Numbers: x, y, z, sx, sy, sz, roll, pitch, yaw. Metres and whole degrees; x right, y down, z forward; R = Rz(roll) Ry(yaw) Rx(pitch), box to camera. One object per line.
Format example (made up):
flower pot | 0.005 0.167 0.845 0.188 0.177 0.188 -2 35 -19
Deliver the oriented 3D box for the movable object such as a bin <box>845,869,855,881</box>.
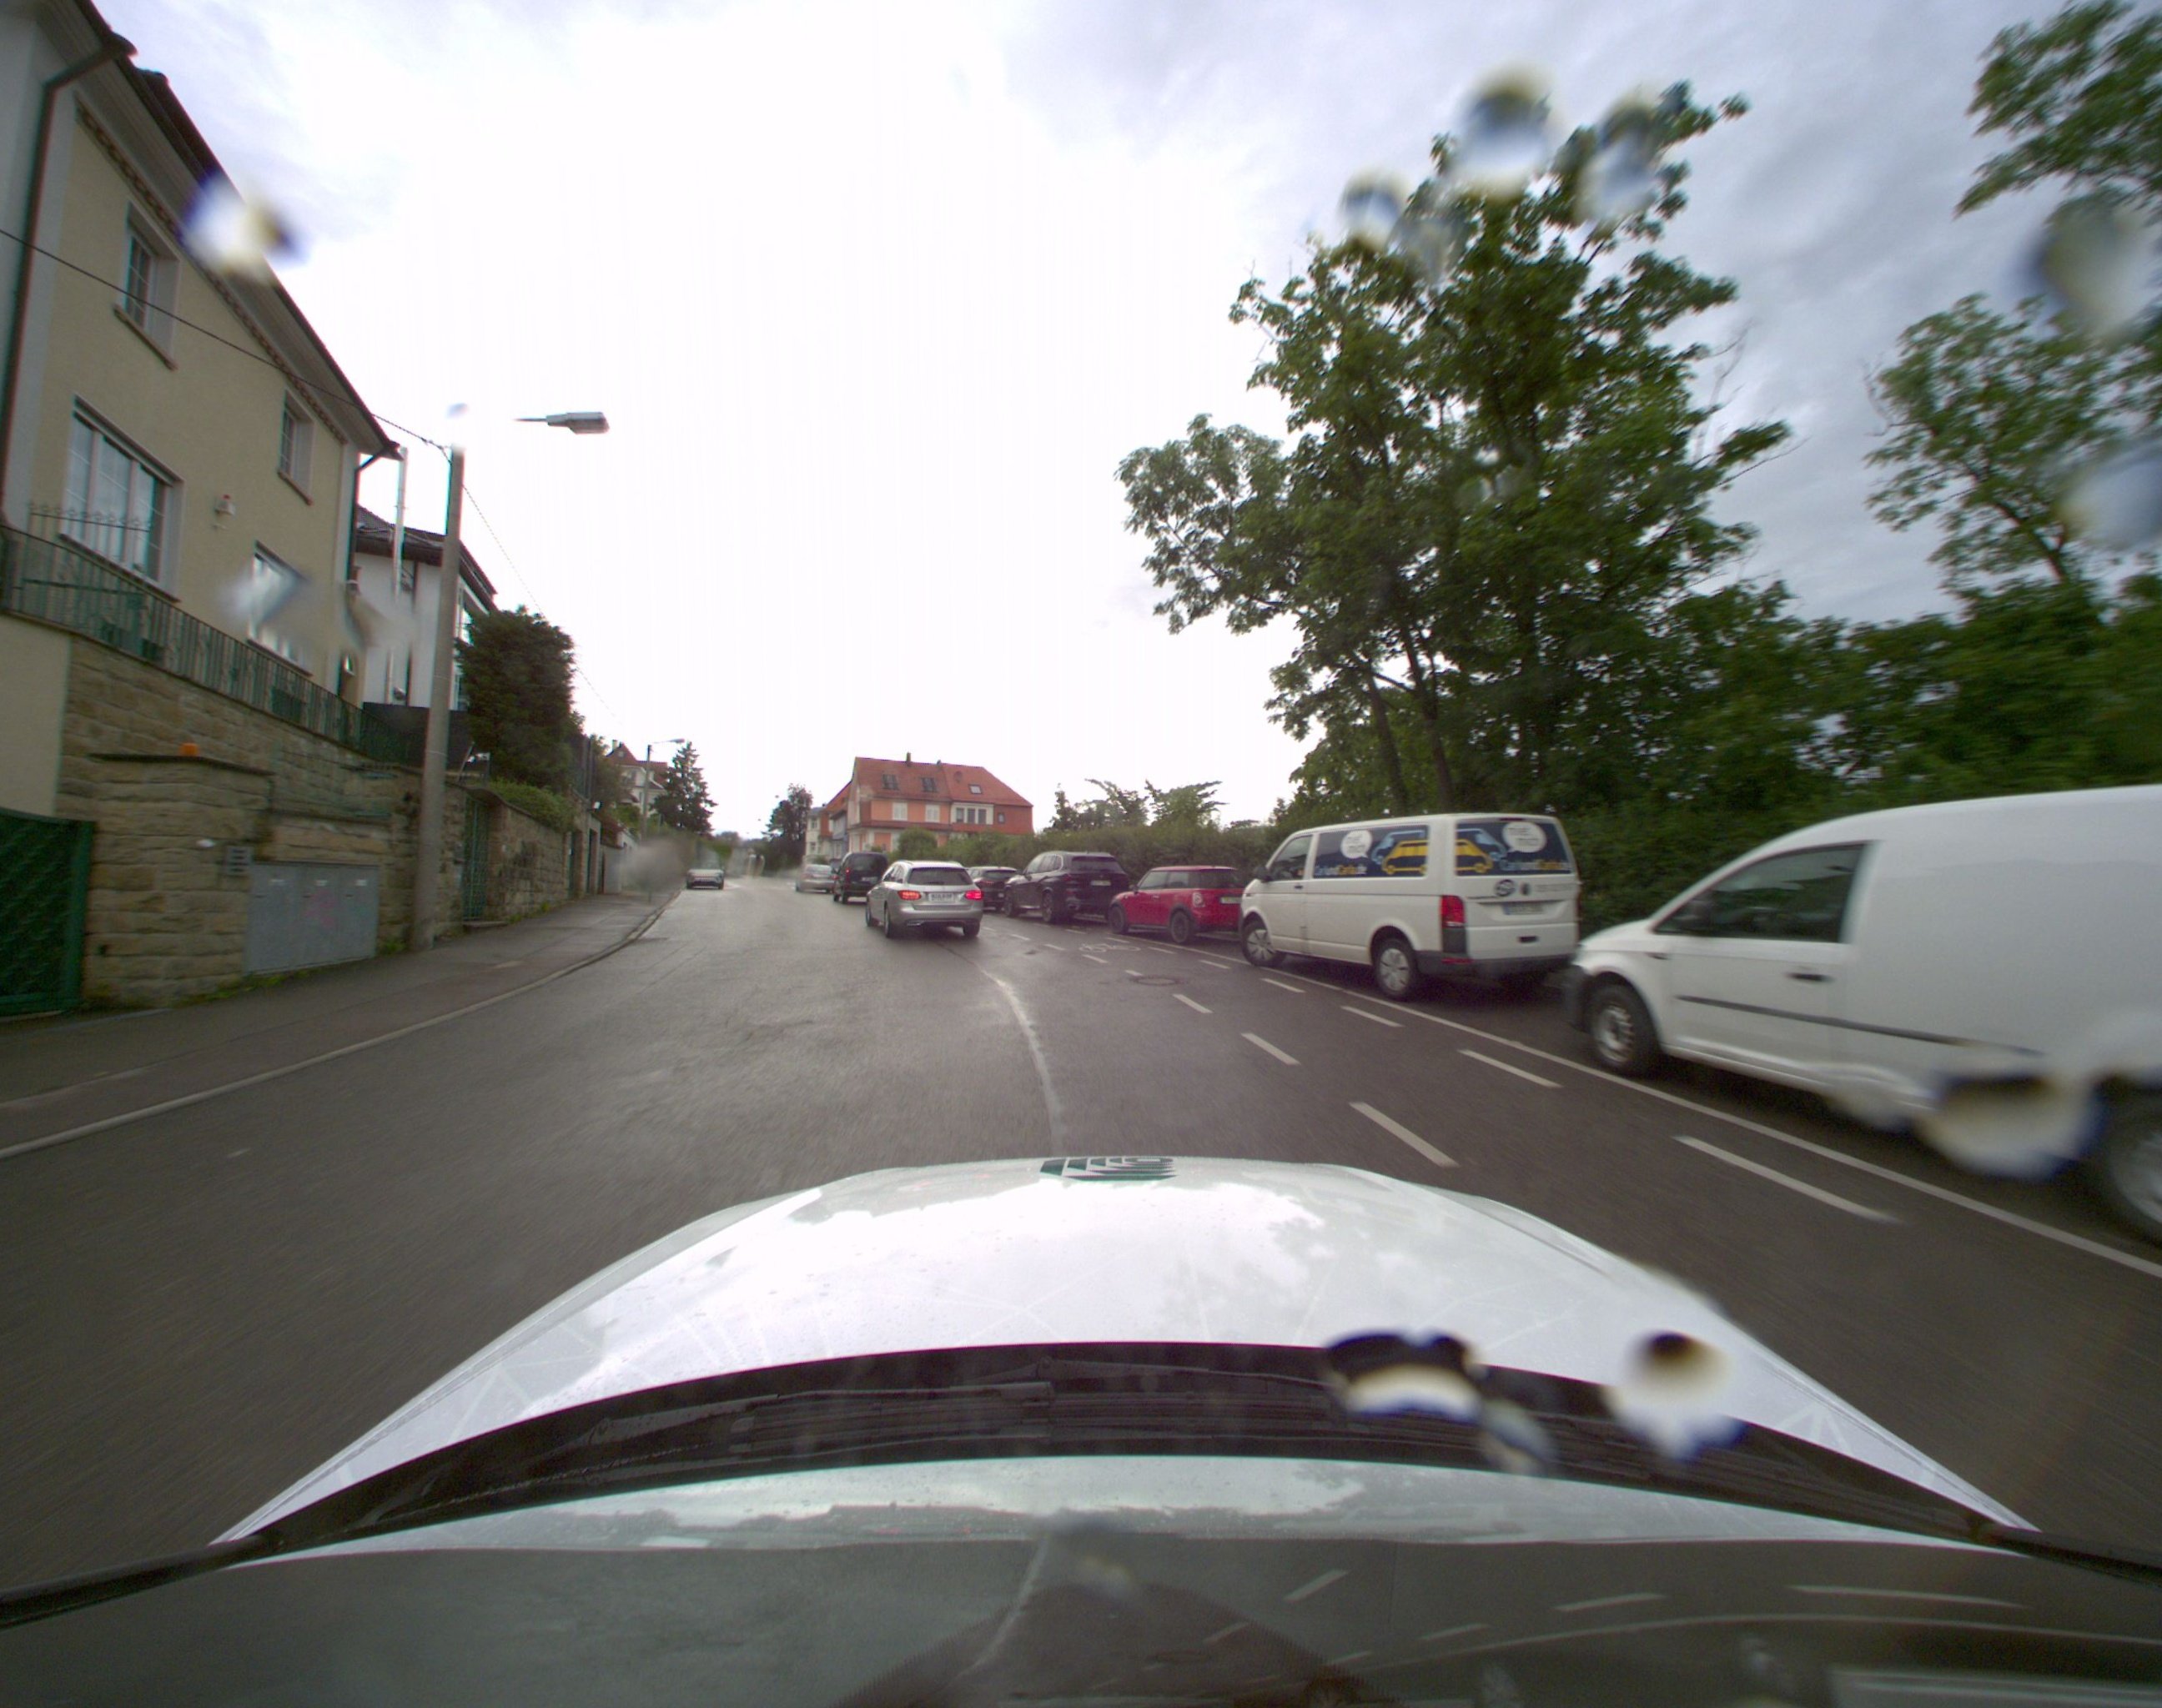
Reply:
movable object such as a bin | -20.309 1.826 71.591 0.715 1.030 0.751 0 -1 -26

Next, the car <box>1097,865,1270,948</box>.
car | 1.897 0.944 16.150 1.679 1.414 3.710 1 -1 -26

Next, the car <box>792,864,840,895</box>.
car | -13.494 1.273 41.351 1.862 1.458 4.062 -1 0 -24

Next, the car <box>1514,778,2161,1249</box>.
car | 4.765 0.592 4.579 1.859 1.770 4.366 -1 0 -8

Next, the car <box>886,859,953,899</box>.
car | -7.448 1.091 37.136 1.896 1.663 4.510 3 -2 -25

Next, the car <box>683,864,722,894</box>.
car | -21.129 1.375 45.593 1.907 1.567 4.204 0 -1 -24

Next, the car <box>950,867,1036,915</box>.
car | -2.908 1.159 26.242 1.696 1.422 3.952 1 -2 -23

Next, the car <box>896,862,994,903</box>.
car | -5.449 1.083 32.134 1.813 1.440 4.589 2 -2 -38

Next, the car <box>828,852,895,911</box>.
car | -7.981 0.903 29.431 1.831 1.882 4.066 -2 1 -22

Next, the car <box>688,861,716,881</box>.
car | -30.475 1.371 65.628 1.907 1.515 4.307 3 -2 -24

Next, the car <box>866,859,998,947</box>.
car | -3.196 0.903 16.726 1.989 1.554 4.268 1 -1 -20

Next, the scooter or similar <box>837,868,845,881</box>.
scooter or similar | -23.155 1.977 78.669 0.694 1.224 1.292 2 -1 -16

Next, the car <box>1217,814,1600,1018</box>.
car | 3.694 0.593 10.347 1.865 1.948 4.777 -1 0 -18

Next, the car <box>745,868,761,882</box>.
car | -60.869 3.869 151.016 2.478 2.400 3.968 -2 0 -24

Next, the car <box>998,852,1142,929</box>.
car | -0.450 0.860 21.314 2.036 1.783 4.860 1 -1 -24
